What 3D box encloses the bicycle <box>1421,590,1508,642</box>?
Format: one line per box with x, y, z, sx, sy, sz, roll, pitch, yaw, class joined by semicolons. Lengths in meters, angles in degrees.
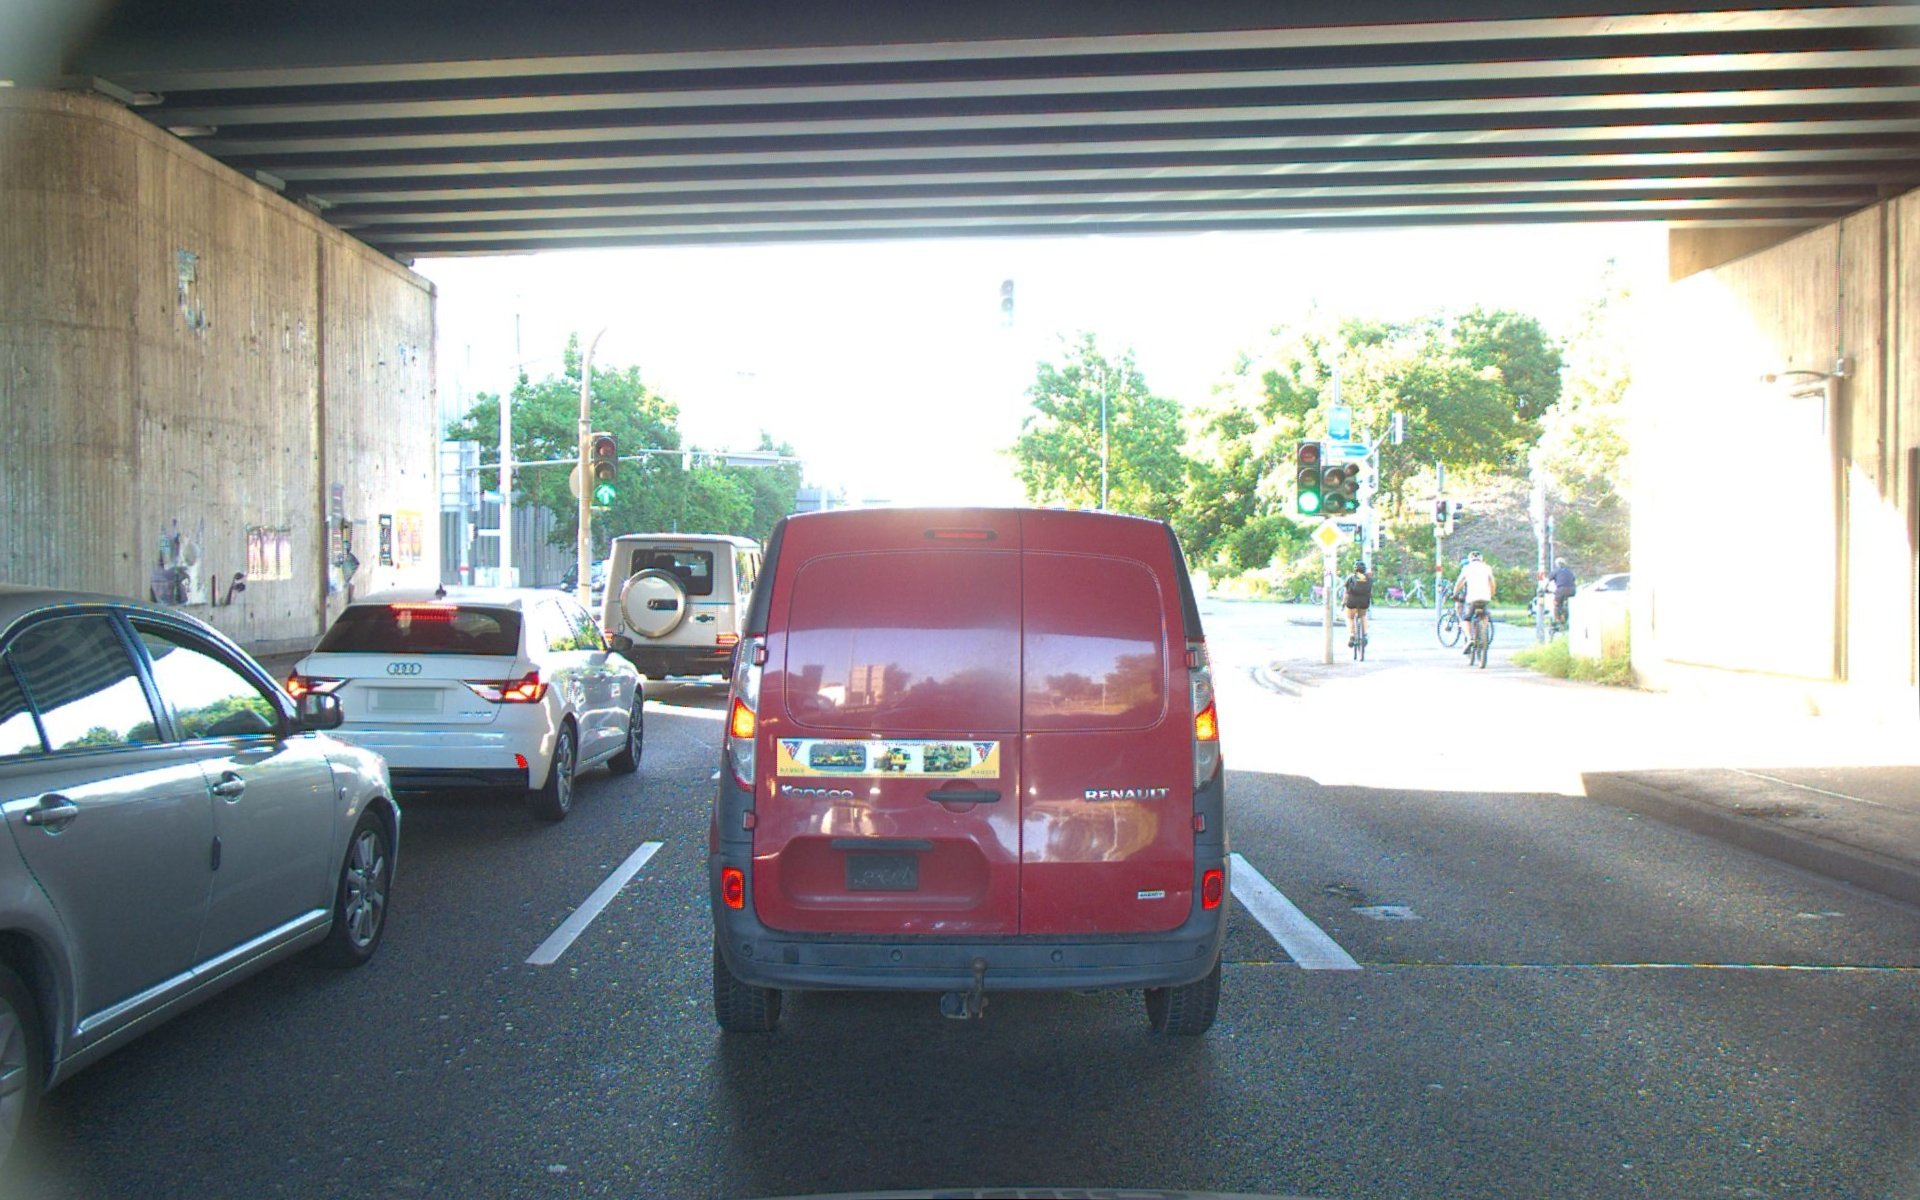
10.351;0.320;34.004;0.661;1.041;2.045;1;0;-17;bicycle

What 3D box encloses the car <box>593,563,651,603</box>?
-16.006;-0.828;78.441;1.787;1.768;4.529;-2;1;-1;car

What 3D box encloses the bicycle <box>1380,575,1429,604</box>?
16.459;-0.382;61.257;1.707;1.041;0.594;1;0;8;bicycle

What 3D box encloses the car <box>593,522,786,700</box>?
-3.369;0.140;21.418;1.764;2.023;4.588;1;0;-1;car

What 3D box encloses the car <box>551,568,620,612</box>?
-16.121;-0.447;71.394;1.787;1.768;4.630;-2;1;1;car

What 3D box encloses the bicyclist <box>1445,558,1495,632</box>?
10.420;-0.101;33.793;0.654;1.500;0.747;1;-1;-18;bicyclist

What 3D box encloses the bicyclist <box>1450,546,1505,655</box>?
7.688;0.008;24.608;0.579;1.575;0.769;1;-1;2;bicyclist

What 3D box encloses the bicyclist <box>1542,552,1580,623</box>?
12.958;-0.273;35.682;0.635;1.506;0.619;1;1;7;bicyclist

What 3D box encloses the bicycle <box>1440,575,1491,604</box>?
18.369;-0.380;60.136;1.707;1.041;0.594;1;0;10;bicycle

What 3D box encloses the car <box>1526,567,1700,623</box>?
19.223;-0.146;48.819;4.451;1.540;1.829;1;0;6;car

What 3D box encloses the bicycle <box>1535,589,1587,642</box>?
12.961;0.319;35.697;0.653;1.041;1.752;0;3;7;bicycle

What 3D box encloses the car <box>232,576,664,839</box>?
-3.254;0.588;11.306;1.776;1.463;3.731;1;1;0;car

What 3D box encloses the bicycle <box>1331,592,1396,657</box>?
6.681;0.402;27.458;0.580;1.041;1.749;1;0;-2;bicycle

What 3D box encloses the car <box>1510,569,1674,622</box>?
19.631;-0.128;51.502;4.451;1.540;1.829;1;0;6;car

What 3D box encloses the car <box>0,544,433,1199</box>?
-3.016;0.621;4.849;1.698;1.506;4.317;0;0;-2;car

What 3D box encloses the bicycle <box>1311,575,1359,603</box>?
14.199;-0.416;62.610;1.707;1.041;0.594;1;0;8;bicycle

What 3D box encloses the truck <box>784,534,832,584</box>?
-9.880;-2.645;108.048;2.360;3.079;6.657;-2;1;0;truck

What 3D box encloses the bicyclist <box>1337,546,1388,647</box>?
6.674;-0.052;27.459;0.580;1.642;0.942;1;0;-2;bicyclist

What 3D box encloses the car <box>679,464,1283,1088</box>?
0.039;0.534;6.911;1.768;1.826;3.999;1;0;-1;car

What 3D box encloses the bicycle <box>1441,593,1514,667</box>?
7.695;0.436;24.657;0.579;1.041;1.751;1;0;2;bicycle
